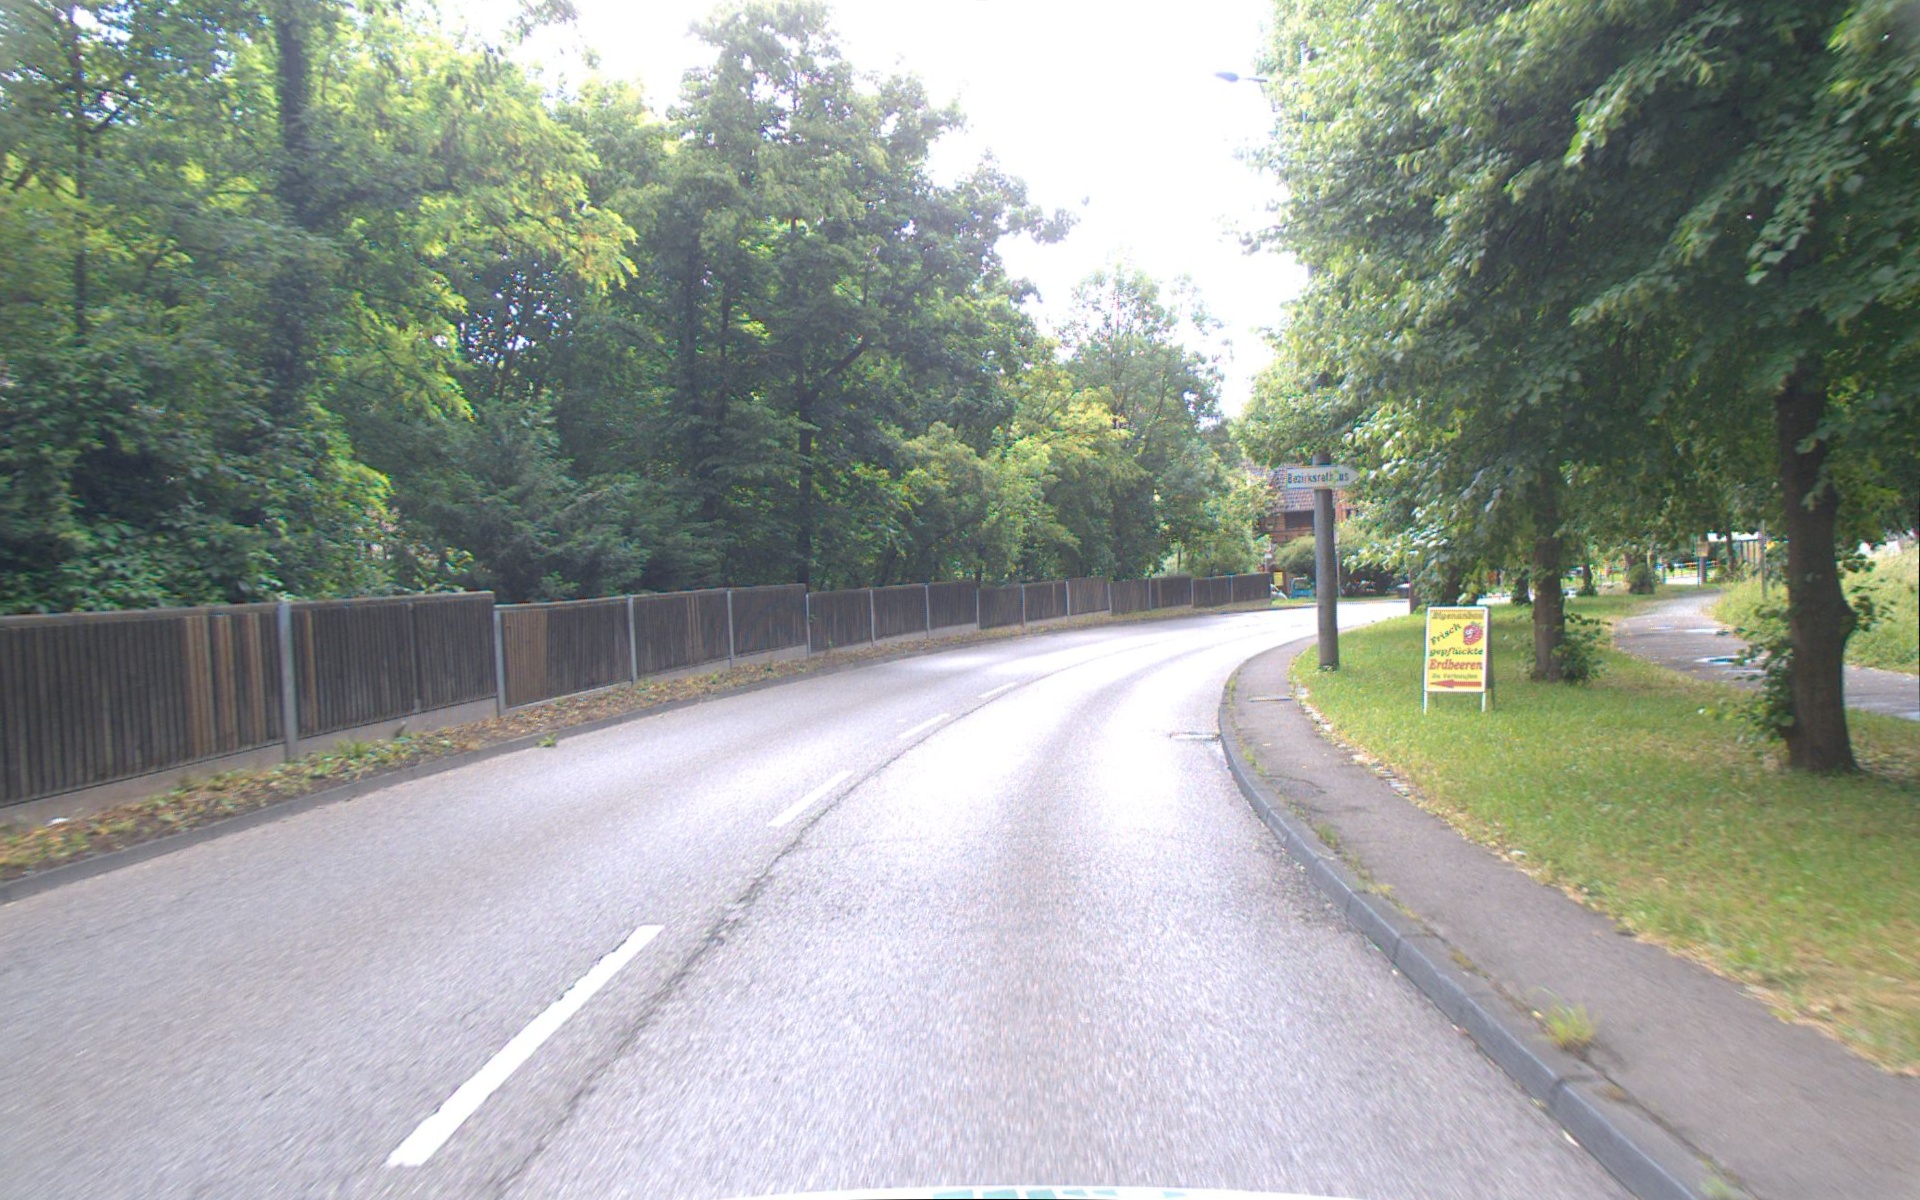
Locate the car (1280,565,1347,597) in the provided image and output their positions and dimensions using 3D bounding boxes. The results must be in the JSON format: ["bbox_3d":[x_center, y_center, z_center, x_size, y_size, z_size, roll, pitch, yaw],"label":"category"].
[{"bbox_3d":[20.434,-1.104,95.573,1.962,1.646,4.427,-4,-1,39],"label":"car"}]
